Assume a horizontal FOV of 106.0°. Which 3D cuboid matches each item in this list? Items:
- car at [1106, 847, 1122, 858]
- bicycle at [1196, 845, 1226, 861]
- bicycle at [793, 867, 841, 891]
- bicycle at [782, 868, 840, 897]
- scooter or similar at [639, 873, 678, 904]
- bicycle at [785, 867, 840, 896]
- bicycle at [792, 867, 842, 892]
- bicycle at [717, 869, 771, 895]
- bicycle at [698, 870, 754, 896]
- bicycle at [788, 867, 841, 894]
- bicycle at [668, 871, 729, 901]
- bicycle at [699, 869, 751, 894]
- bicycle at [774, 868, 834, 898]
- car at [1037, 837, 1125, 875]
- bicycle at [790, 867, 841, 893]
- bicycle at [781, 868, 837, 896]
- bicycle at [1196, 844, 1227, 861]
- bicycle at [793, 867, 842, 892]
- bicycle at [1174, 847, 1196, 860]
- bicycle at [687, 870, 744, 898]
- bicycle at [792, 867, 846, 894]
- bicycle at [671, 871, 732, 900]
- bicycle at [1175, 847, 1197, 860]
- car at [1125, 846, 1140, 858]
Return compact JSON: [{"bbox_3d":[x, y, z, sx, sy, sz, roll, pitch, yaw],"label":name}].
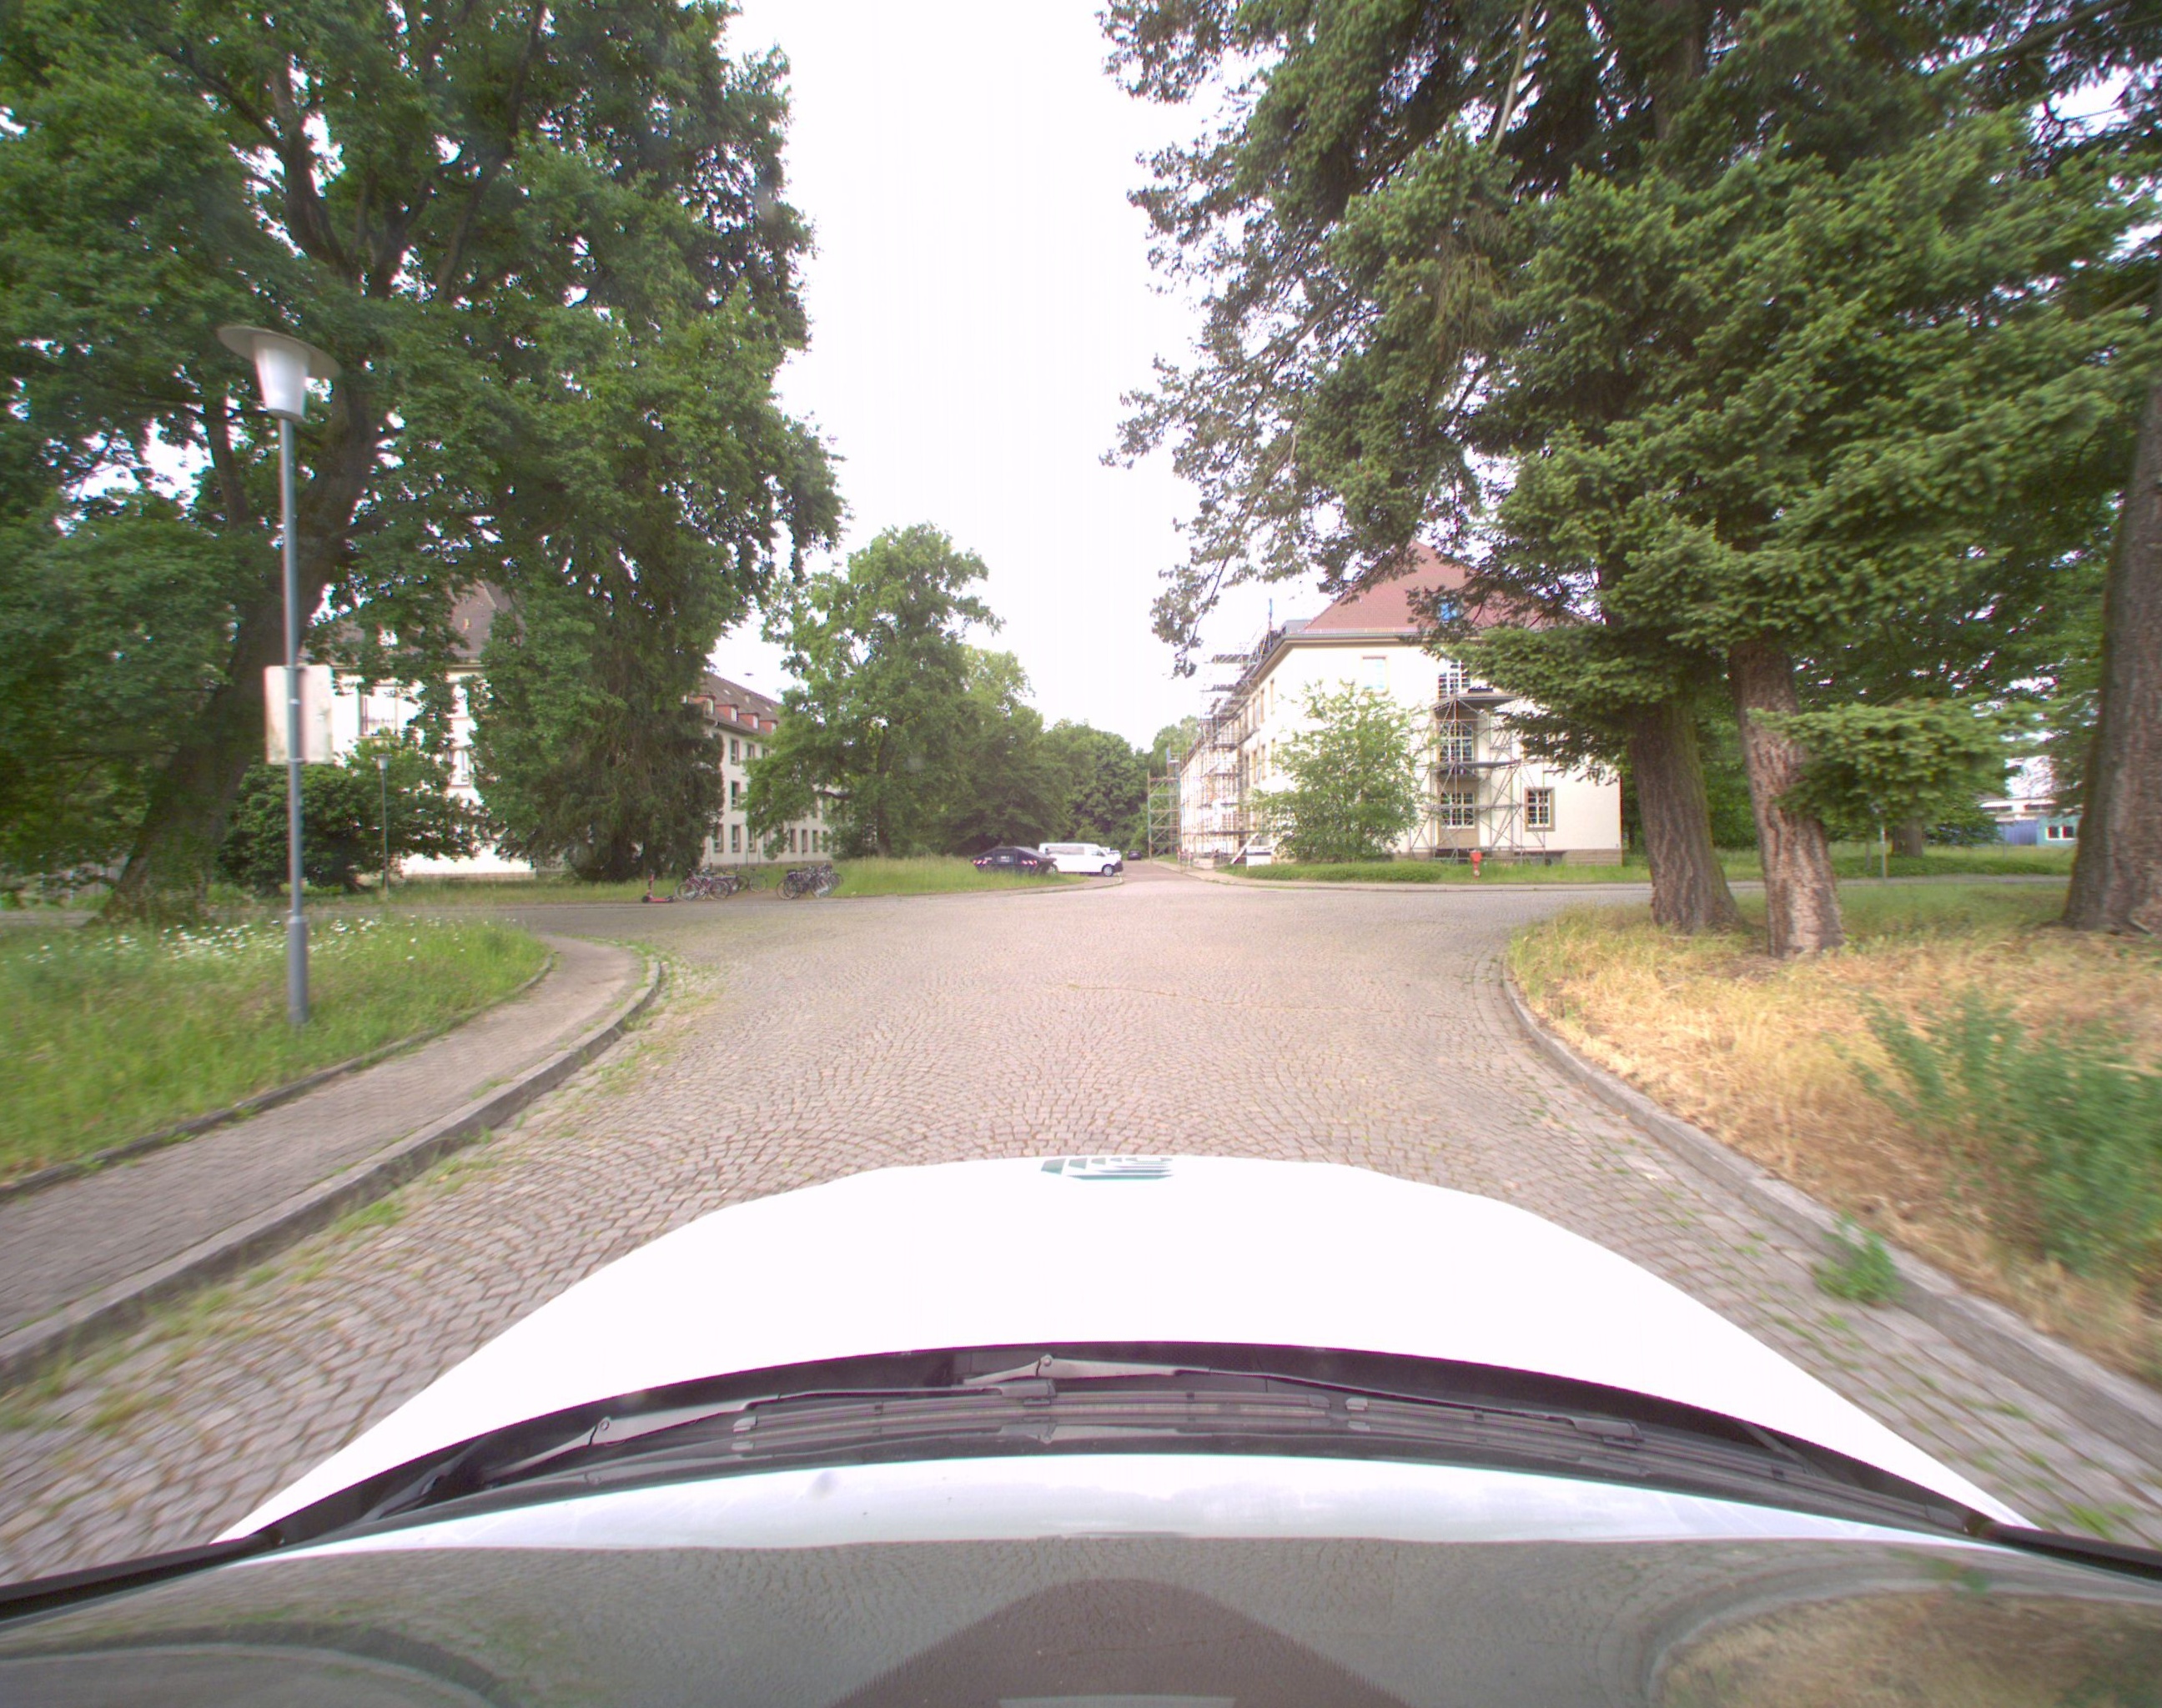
[{"bbox_3d":[4.622,-0.197,115.165,2.111,1.521,4.001,-1,0,1],"label":"car"},{"bbox_3d":[10.199,-0.091,63.880,2.230,1.254,0.778,-1,0,4],"label":"bicycle"},{"bbox_3d":[-11.641,1.096,35.943,1.965,0.989,0.622,-1,0,-21],"label":"bicycle"},{"bbox_3d":[-9.833,1.029,29.699,1.965,0.989,0.622,-1,0,-21],"label":"bicycle"},{"bbox_3d":[-14.840,1.209,28.610,1.337,1.038,0.456,-1,0,23],"label":"scooter or similar"},{"bbox_3d":[-10.331,1.047,31.309,1.965,0.989,0.622,-1,0,-21],"label":"bicycle"},{"bbox_3d":[-11.233,1.081,34.642,1.965,0.989,0.622,-1,0,-21],"label":"bicycle"},{"bbox_3d":[-14.059,1.160,33.995,1.957,0.989,0.625,-1,0,-9],"label":"bicycle"},{"bbox_3d":[-14.376,1.167,32.993,1.957,0.989,0.625,-1,0,-9],"label":"bicycle"},{"bbox_3d":[-10.775,1.064,32.922,1.965,0.989,0.622,-1,0,-21],"label":"bicycle"},{"bbox_3d":[-13.805,1.141,29.432,1.967,0.989,0.622,-2,0,-25],"label":"bicycle"},{"bbox_3d":[-15.470,1.203,35.455,1.961,0.989,0.624,-1,0,-15],"label":"bicycle"},{"bbox_3d":[-9.880,1.028,29.075,1.963,0.989,0.623,-1,0,-19],"label":"bicycle"},{"bbox_3d":[0.001,0.121,49.228,5.219,2.168,1.999,-1,0,-1],"label":"car"},{"bbox_3d":[-10.933,1.069,33.508,1.965,0.989,0.622,-1,0,-21],"label":"bicycle"},{"bbox_3d":[-10.254,1.043,30.681,1.965,0.989,0.622,-1,0,-21],"label":"bicycle"},{"bbox_3d":[9.923,-0.088,61.973,2.230,1.254,0.778,-1,0,4],"label":"bicycle"},{"bbox_3d":[-11.411,1.087,35.216,1.965,0.989,0.622,-1,0,-21],"label":"bicycle"},{"bbox_3d":[11.088,-0.055,86.930,2.230,1.254,0.699,-1,0,4],"label":"bicycle"},{"bbox_3d":[-14.191,1.158,31.640,1.967,0.989,0.622,-2,0,-25],"label":"bicycle"},{"bbox_3d":[-10.354,1.050,32.186,1.965,0.989,0.622,-1,0,-21],"label":"bicycle"},{"bbox_3d":[-13.918,1.146,29.925,1.965,0.989,0.622,-1,0,-21],"label":"bicycle"},{"bbox_3d":[11.036,-0.057,85.772,2.230,1.254,0.627,-1,0,4],"label":"bicycle"},{"bbox_3d":[7.299,-0.273,115.401,1.944,1.521,4.000,-1,0,0],"label":"car"}]
